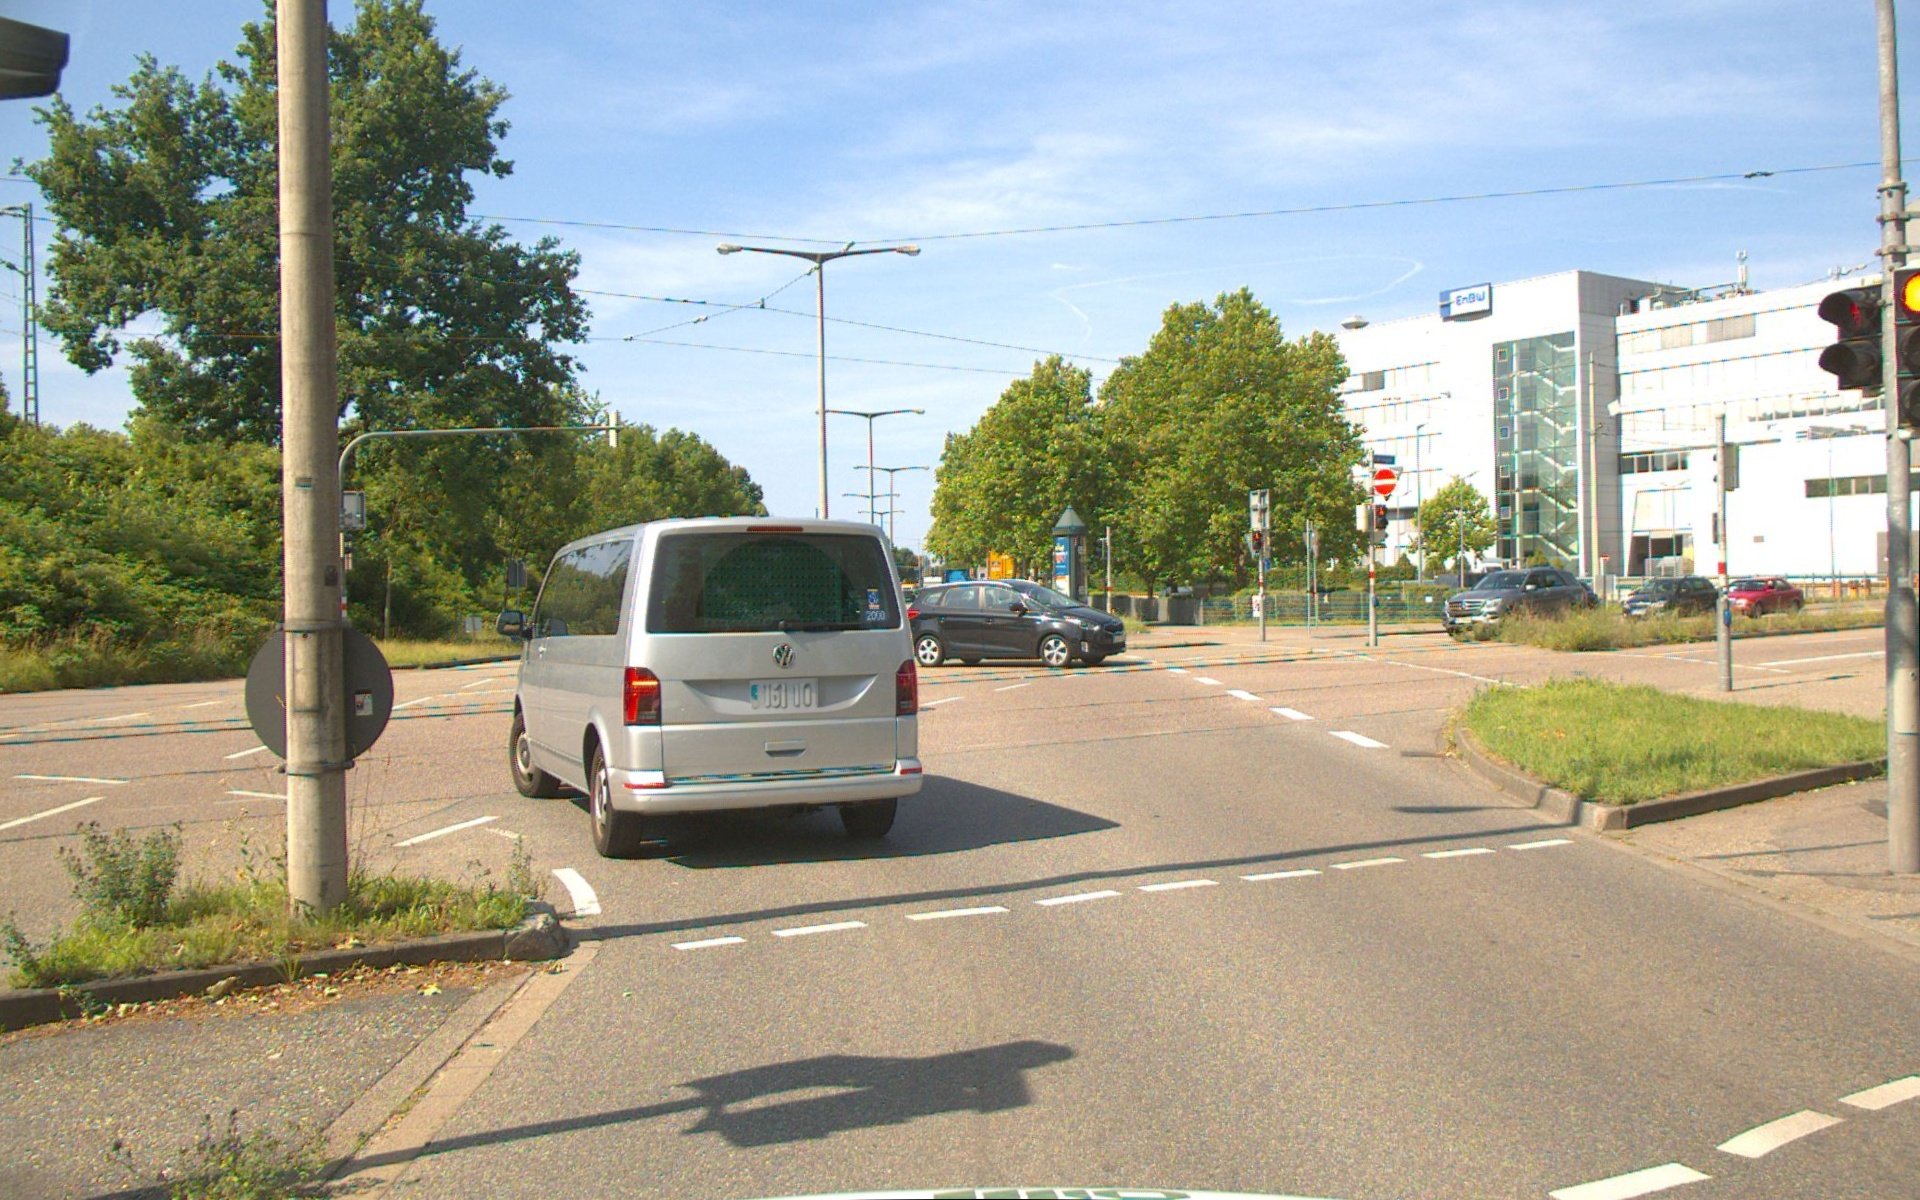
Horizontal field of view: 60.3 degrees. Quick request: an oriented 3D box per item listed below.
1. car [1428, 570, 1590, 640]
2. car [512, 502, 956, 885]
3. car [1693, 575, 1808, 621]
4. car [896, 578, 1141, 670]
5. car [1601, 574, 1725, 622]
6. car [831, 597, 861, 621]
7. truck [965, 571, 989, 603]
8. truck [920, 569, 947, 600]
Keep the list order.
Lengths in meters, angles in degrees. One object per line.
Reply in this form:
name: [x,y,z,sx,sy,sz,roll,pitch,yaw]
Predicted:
car: [14.708,0.110,44.181,4.579,1.718,1.890,-2,0,-38]
car: [-1.818,0.485,11.361,1.914,2.006,4.989,-1,0,-21]
car: [27.631,-0.079,57.760,4.579,1.469,1.757,-2,0,-38]
car: [1.087,0.457,31.442,4.281,1.633,1.811,-1,0,29]
car: [23.160,-0.070,54.403,4.579,1.469,1.757,-2,0,-38]
car: [-7.259,0.570,105.407,1.680,1.402,4.471,-3,0,-2]
truck: [2.596,-1.915,243.216,3.125,4.431,13.150,-1,0,2]
truck: [-3.230,-1.927,203.348,2.782,3.640,8.722,-1,0,2]
